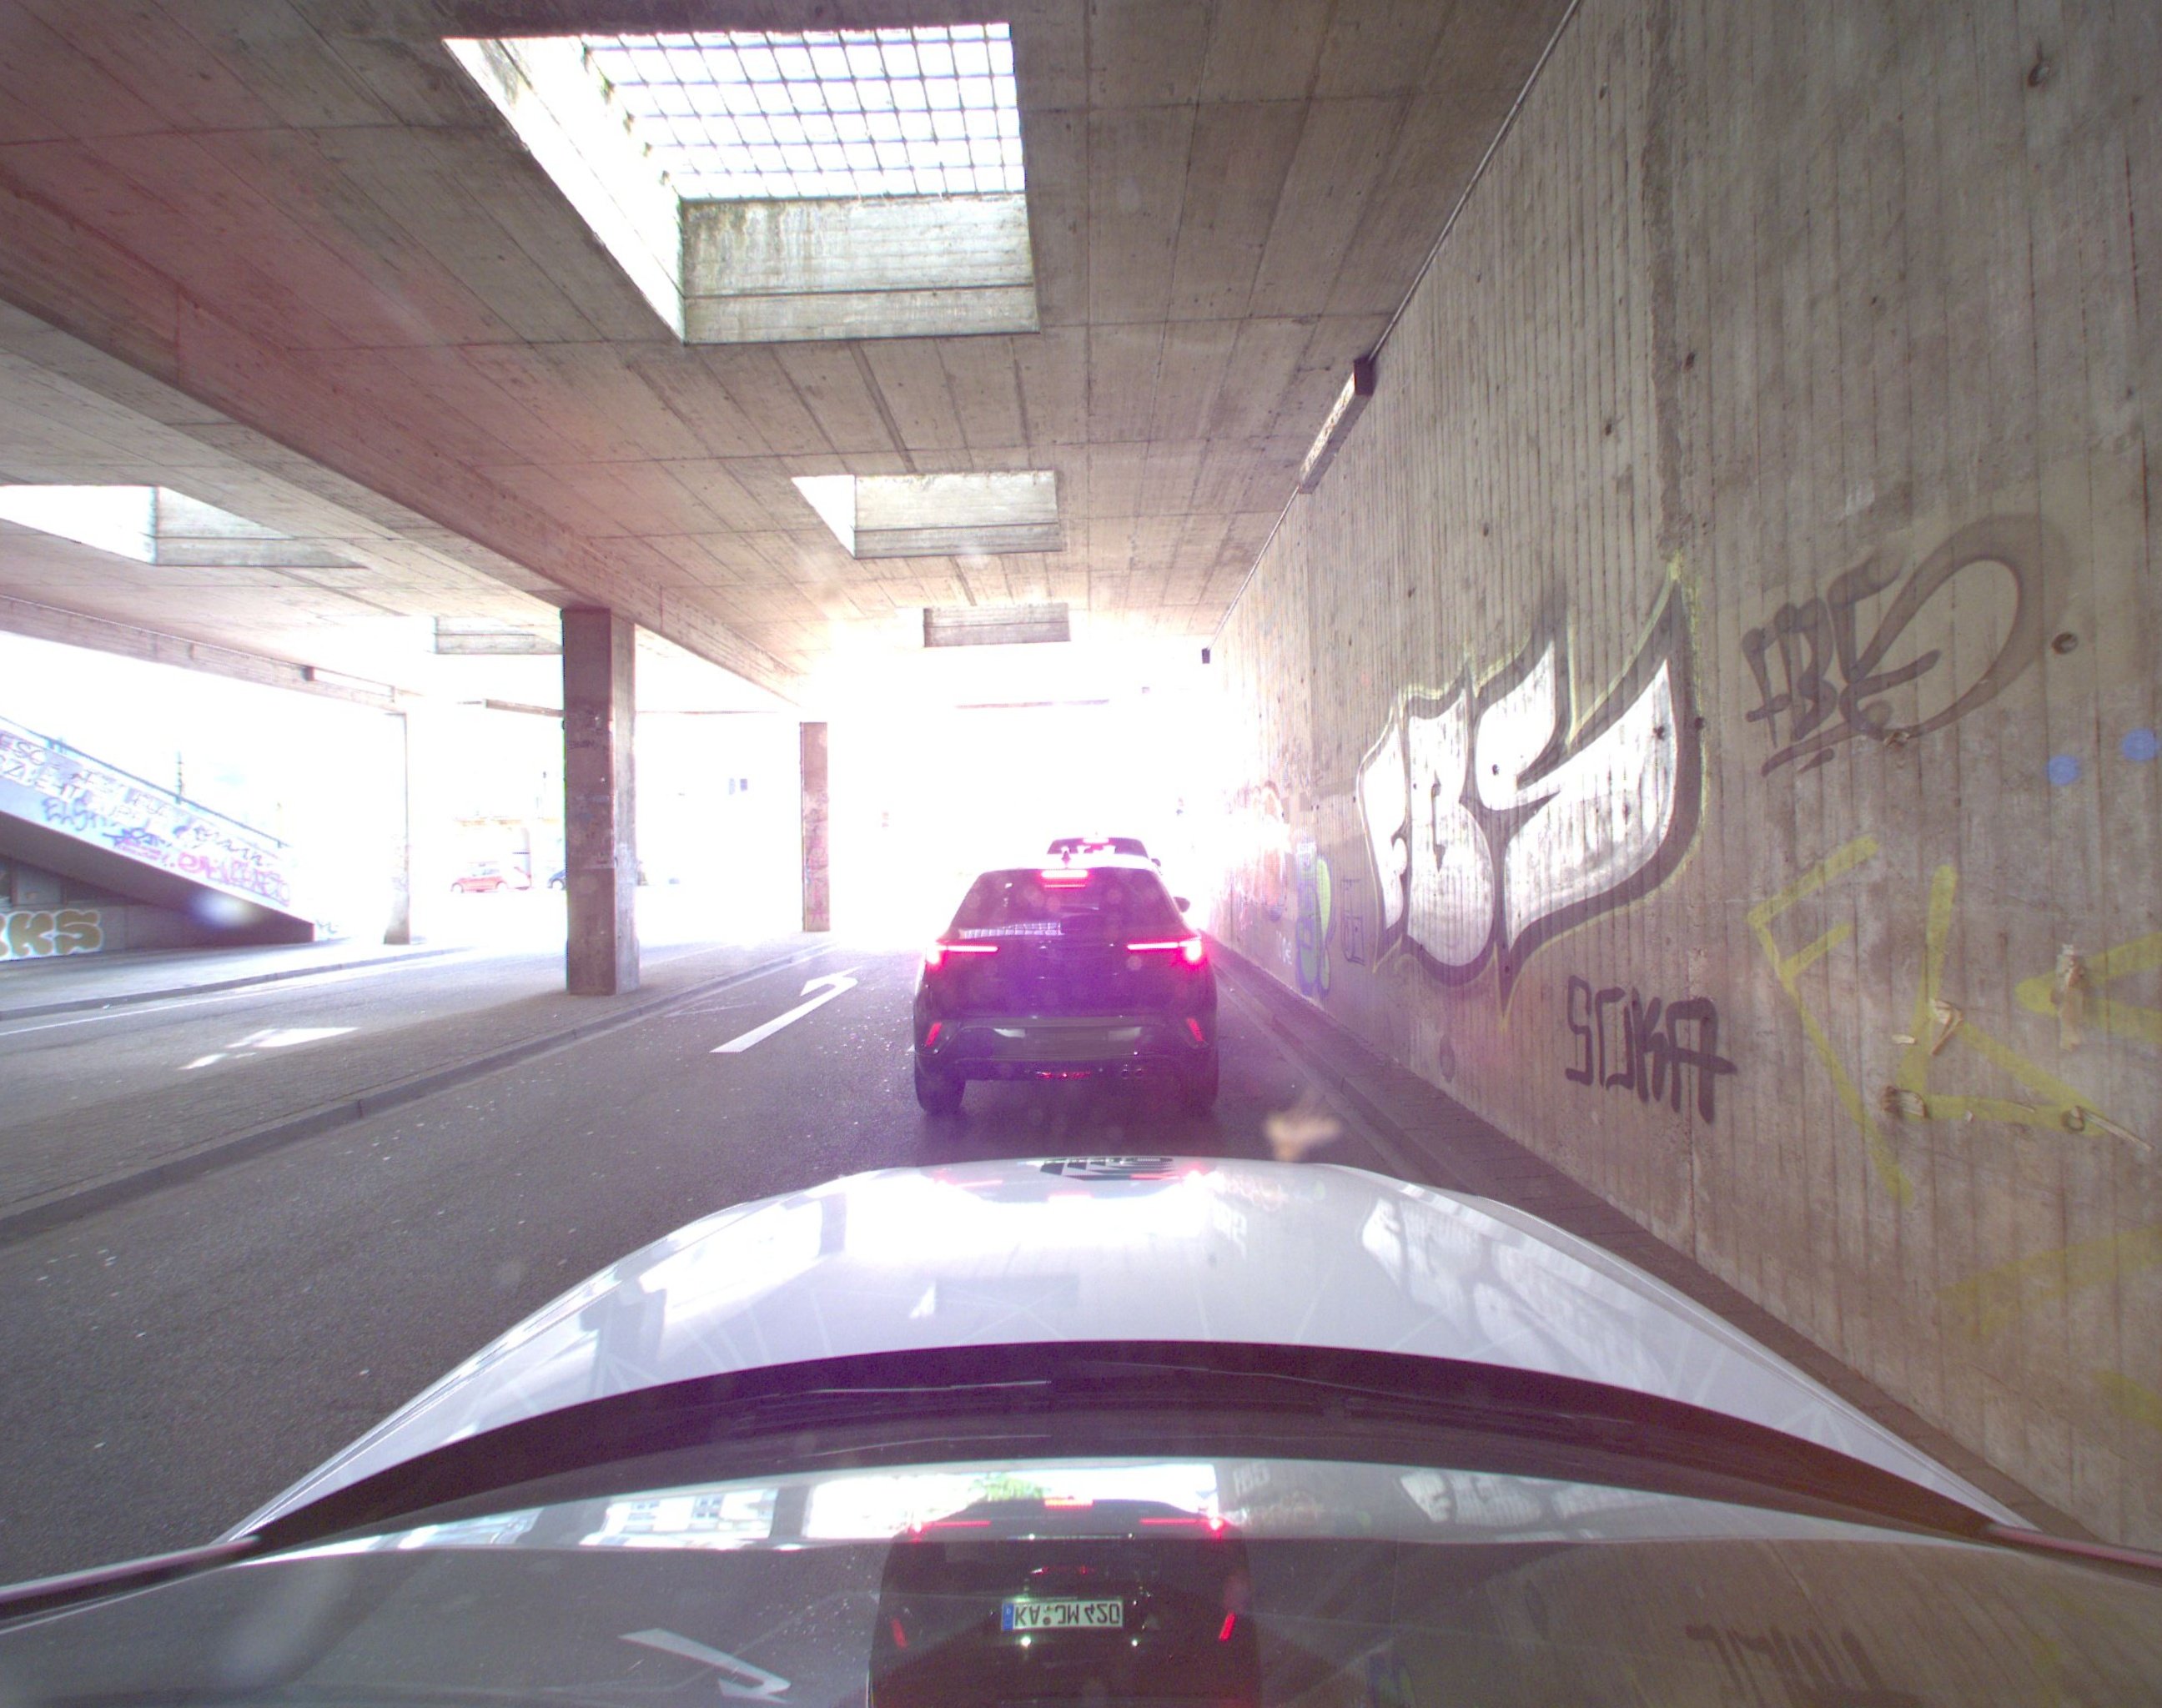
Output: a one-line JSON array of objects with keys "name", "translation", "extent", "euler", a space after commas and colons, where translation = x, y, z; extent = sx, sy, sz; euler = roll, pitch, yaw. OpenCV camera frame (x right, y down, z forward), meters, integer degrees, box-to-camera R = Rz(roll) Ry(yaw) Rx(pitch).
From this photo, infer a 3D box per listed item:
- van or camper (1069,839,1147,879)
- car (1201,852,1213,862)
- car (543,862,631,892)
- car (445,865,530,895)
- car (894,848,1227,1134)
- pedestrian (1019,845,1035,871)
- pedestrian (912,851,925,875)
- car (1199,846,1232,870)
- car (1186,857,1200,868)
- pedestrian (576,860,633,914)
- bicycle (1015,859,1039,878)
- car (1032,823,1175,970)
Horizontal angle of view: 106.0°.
[{"name": "van or camper", "translation": [1.484, 0.276, 43.544], "extent": [3.854, 2.013, 2.005], "euler": [-2, 0, 9]}, {"name": "car", "translation": [20.681, 0.450, 133.430], "extent": [1.573, 1.640, 3.819], "euler": [-1, 0, 12]}, {"name": "car", "translation": [-27.390, 1.287, 45.260], "extent": [3.742, 1.508, 1.752], "euler": [-2, 0, 0]}, {"name": "car", "translation": [-32.843, 1.438, 45.111], "extent": [3.519, 1.506, 1.563], "euler": [-2, 0, 2]}, {"name": "car", "translation": [-0.035, 0.720, 6.281], "extent": [1.746, 1.498, 4.002], "euler": [0, 0, 2]}, {"name": "pedestrian", "translation": [-3.396, 0.258, 51.658], "extent": [0.729, 1.585, 0.894], "euler": [0, -1, 18]}, {"name": "pedestrian", "translation": [-11.318, 0.629, 56.867], "extent": [0.618, 1.705, 0.726], "euler": [0, -1, 16]}, {"name": "car", "translation": [9.338, 0.281, 56.344], "extent": [1.980, 1.534, 4.750], "euler": [-1, 0, 12]}, {"name": "car", "translation": [15.878, 1.156, 115.134], "extent": [1.587, 1.452, 3.808], "euler": [-1, 0, 13]}, {"name": "pedestrian", "translation": [-15.802, 1.082, 27.007], "extent": [1.103, 1.737, 1.146], "euler": [-1, 0, 15]}, {"name": "bicycle", "translation": [-3.412, 0.893, 51.571], "extent": [0.730, 1.130, 2.036], "euler": [-2, 0, 19]}, {"name": "car", "translation": [0.352, 0.533, 12.252], "extent": [1.779, 1.833, 3.962], "euler": [-1, 0, 2]}]
